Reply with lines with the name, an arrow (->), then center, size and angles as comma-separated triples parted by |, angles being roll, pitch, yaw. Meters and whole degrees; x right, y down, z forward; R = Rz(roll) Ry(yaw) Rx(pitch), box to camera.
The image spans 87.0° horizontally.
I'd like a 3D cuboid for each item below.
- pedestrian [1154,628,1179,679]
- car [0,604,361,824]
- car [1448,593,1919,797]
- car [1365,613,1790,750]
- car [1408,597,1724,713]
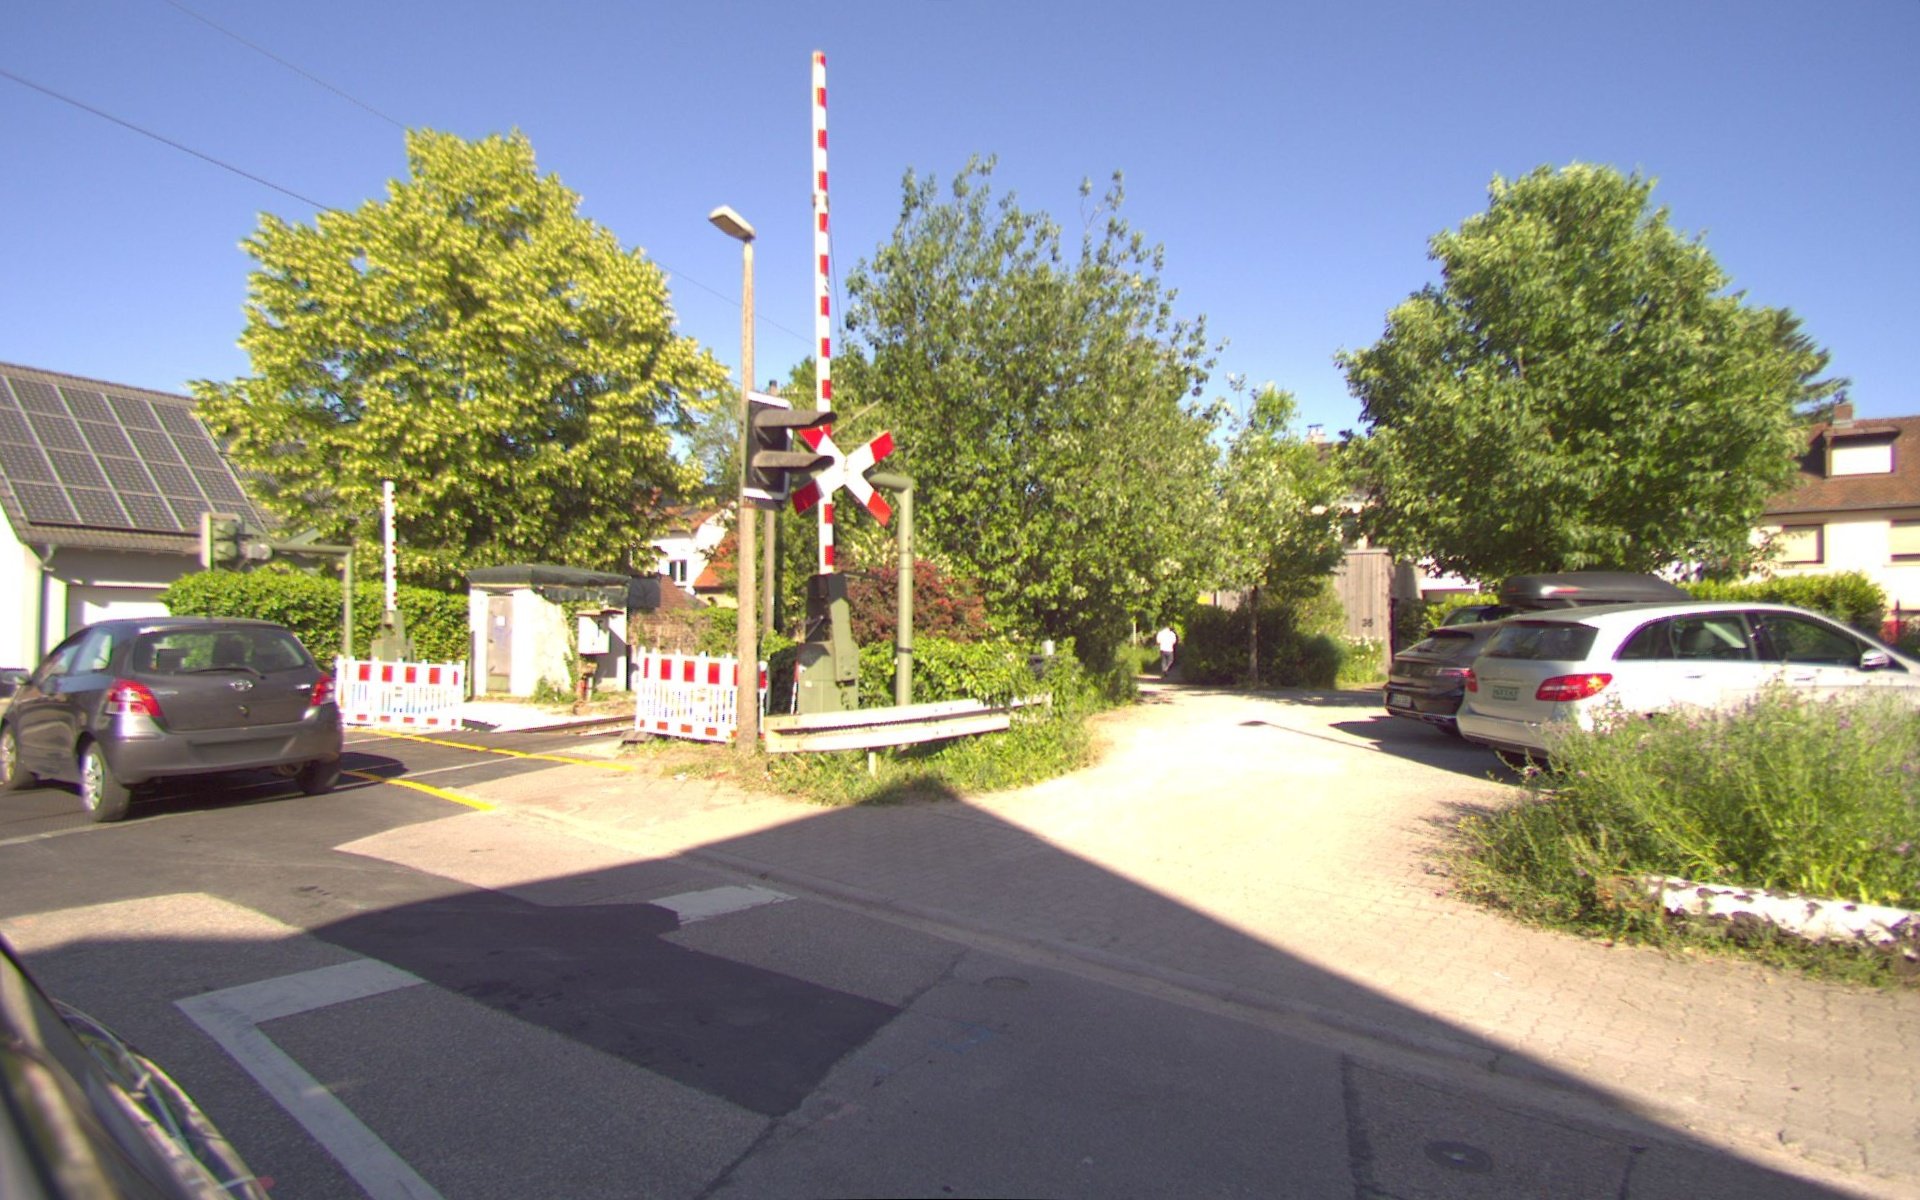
pedestrian -> 6.811, 1.753, 33.330 | 0.637, 1.625, 0.992 | 0, 0, 21
car -> -6.974, 0.830, 8.798 | 3.646, 1.521, 1.671 | 0, -2, 36
car -> 6.625, 0.738, 8.785 | 3.941, 1.576, 1.690 | 0, 0, -3
car -> 6.809, 0.869, 11.422 | 3.775, 1.412, 1.643 | 0, -2, -3
car -> 9.038, 0.808, 15.288 | 3.775, 1.646, 1.653 | 0, -1, -3
